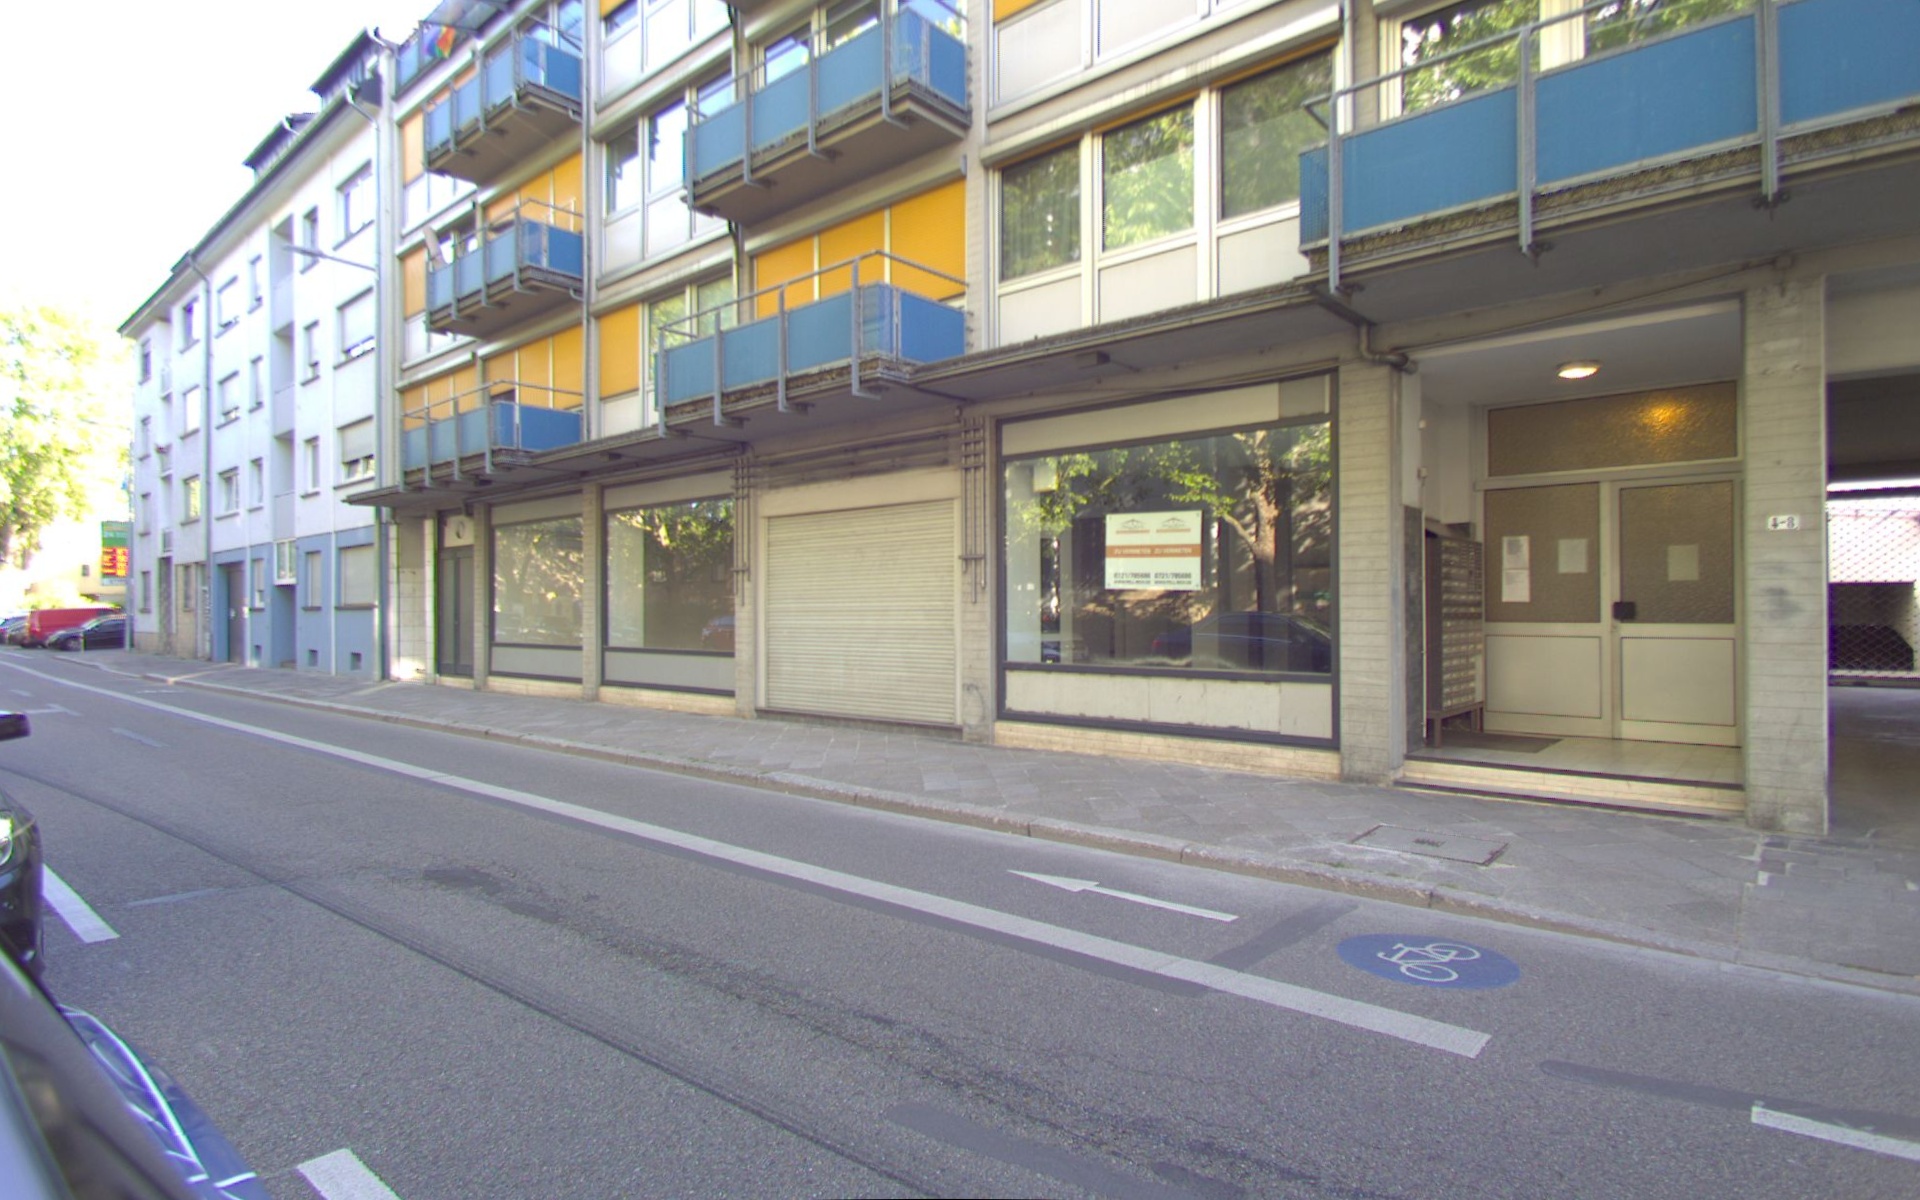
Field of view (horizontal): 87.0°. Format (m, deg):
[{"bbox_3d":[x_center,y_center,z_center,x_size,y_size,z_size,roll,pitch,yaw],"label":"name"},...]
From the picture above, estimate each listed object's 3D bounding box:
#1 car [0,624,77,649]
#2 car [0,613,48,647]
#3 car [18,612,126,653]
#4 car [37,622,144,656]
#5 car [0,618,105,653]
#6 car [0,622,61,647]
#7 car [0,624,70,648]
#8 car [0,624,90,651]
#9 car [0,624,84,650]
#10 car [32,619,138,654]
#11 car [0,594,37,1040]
[{"bbox_3d":[-55.368,2.179,60.444,1.525,1.343,3.854,-1,0,42],"label":"car"},{"bbox_3d":[-62.702,1.970,66.594,1.725,2.193,3.854,-1,0,42],"label":"car"},{"bbox_3d":[-43.695,1.566,49.869,1.749,1.921,3.854,-1,-1,42],"label":"car"},{"bbox_3d":[-39.785,1.747,46.355,1.534,1.420,3.551,-2,-1,42],"label":"car"},{"bbox_3d":[-46.042,1.782,51.407,1.603,1.598,3.854,-1,0,42],"label":"car"},{"bbox_3d":[-59.203,2.191,63.763,1.539,1.451,3.733,-1,0,42],"label":"car"},{"bbox_3d":[-57.174,2.202,62.005,1.525,1.343,3.854,-1,0,42],"label":"car"},{"bbox_3d":[-51.838,2.098,57.225,1.594,1.385,3.854,-1,0,42],"label":"car"},{"bbox_3d":[-53.352,2.118,58.565,1.594,1.385,3.854,-1,0,42],"label":"car"},{"bbox_3d":[-41.502,1.702,48.051,1.602,1.521,3.620,-1,0,42],"label":"car"},{"bbox_3d":[-5.424,0.767,4.209,4.291,1.515,1.805,-1,0,40],"label":"car"}]
